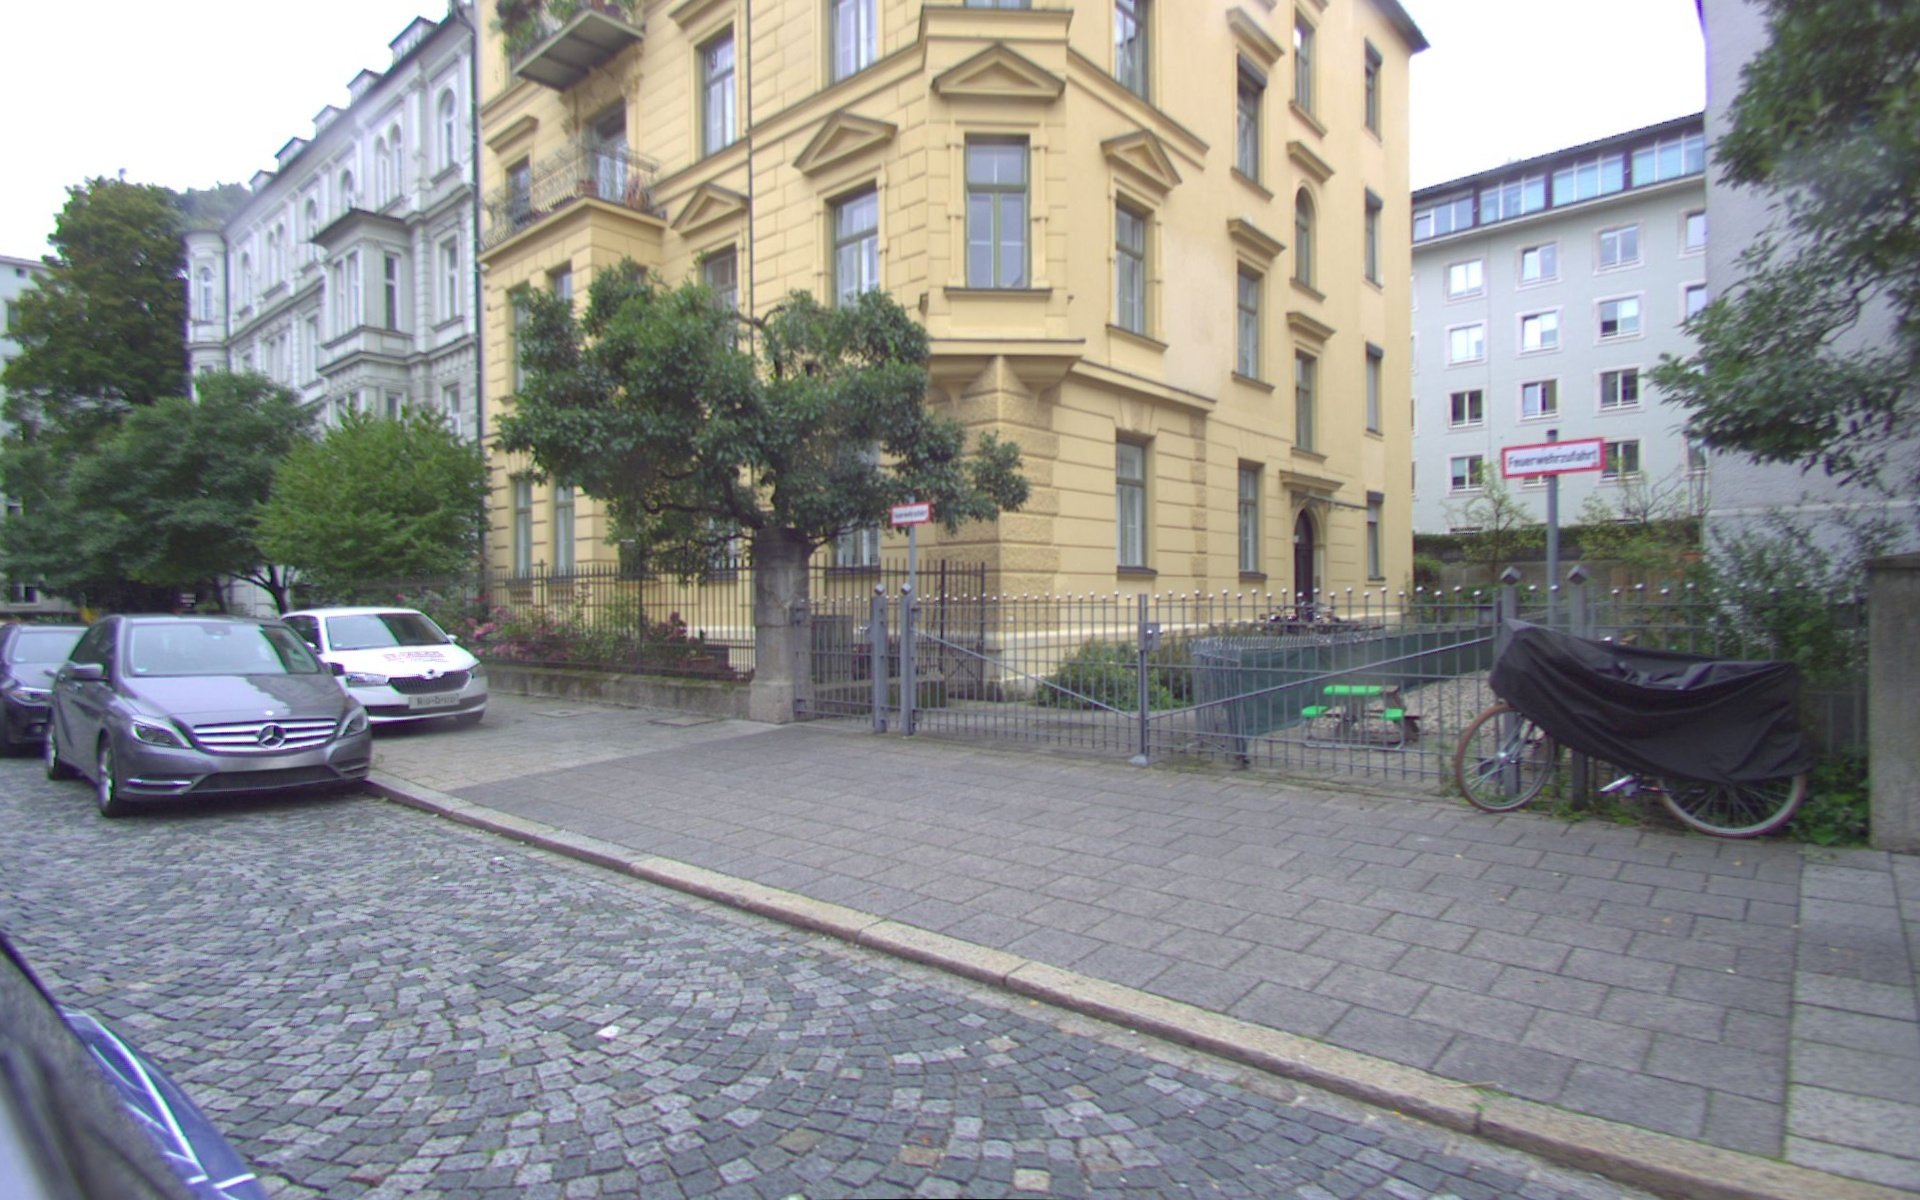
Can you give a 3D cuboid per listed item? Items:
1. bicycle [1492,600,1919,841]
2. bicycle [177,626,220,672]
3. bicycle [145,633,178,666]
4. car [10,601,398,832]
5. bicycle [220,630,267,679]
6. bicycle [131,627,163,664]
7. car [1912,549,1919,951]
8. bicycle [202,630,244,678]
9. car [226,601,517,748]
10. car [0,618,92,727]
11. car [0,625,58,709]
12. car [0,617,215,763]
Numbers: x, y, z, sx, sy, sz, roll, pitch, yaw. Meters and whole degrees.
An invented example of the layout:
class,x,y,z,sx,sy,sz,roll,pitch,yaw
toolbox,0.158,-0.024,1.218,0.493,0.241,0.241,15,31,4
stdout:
class,x,y,z,sx,sy,sz,roll,pitch,yaw
bicycle,4.514,0.656,6.265,2.059,1.268,0.599,-1,0,41
bicycle,-20.477,1.305,27.196,1.789,1.132,0.504,-1,3,41
bicycle,-23.893,1.470,30.268,1.789,0.879,0.434,-1,3,41
car,-6.817,0.848,8.977,4.186,1.598,1.723,-1,-2,38
bicycle,-16.885,1.265,23.836,1.759,1.059,0.468,-1,3,41
bicycle,-25.253,1.403,31.423,1.694,1.059,0.458,-1,3,41
car,4.803,0.573,1.758,4.464,1.548,1.722,-1,1,41
bicycle,-18.424,1.322,25.281,1.789,1.107,0.429,-1,3,41
car,-7.466,0.807,12.652,4.387,1.477,1.823,-1,0,41
car,-15.638,1.098,16.317,4.188,1.598,1.822,-1,-2,40
car,-19.635,1.269,20.164,4.639,1.521,1.799,-1,-3,40
car,-11.185,0.966,12.632,5.129,1.481,1.851,-1,-2,40
